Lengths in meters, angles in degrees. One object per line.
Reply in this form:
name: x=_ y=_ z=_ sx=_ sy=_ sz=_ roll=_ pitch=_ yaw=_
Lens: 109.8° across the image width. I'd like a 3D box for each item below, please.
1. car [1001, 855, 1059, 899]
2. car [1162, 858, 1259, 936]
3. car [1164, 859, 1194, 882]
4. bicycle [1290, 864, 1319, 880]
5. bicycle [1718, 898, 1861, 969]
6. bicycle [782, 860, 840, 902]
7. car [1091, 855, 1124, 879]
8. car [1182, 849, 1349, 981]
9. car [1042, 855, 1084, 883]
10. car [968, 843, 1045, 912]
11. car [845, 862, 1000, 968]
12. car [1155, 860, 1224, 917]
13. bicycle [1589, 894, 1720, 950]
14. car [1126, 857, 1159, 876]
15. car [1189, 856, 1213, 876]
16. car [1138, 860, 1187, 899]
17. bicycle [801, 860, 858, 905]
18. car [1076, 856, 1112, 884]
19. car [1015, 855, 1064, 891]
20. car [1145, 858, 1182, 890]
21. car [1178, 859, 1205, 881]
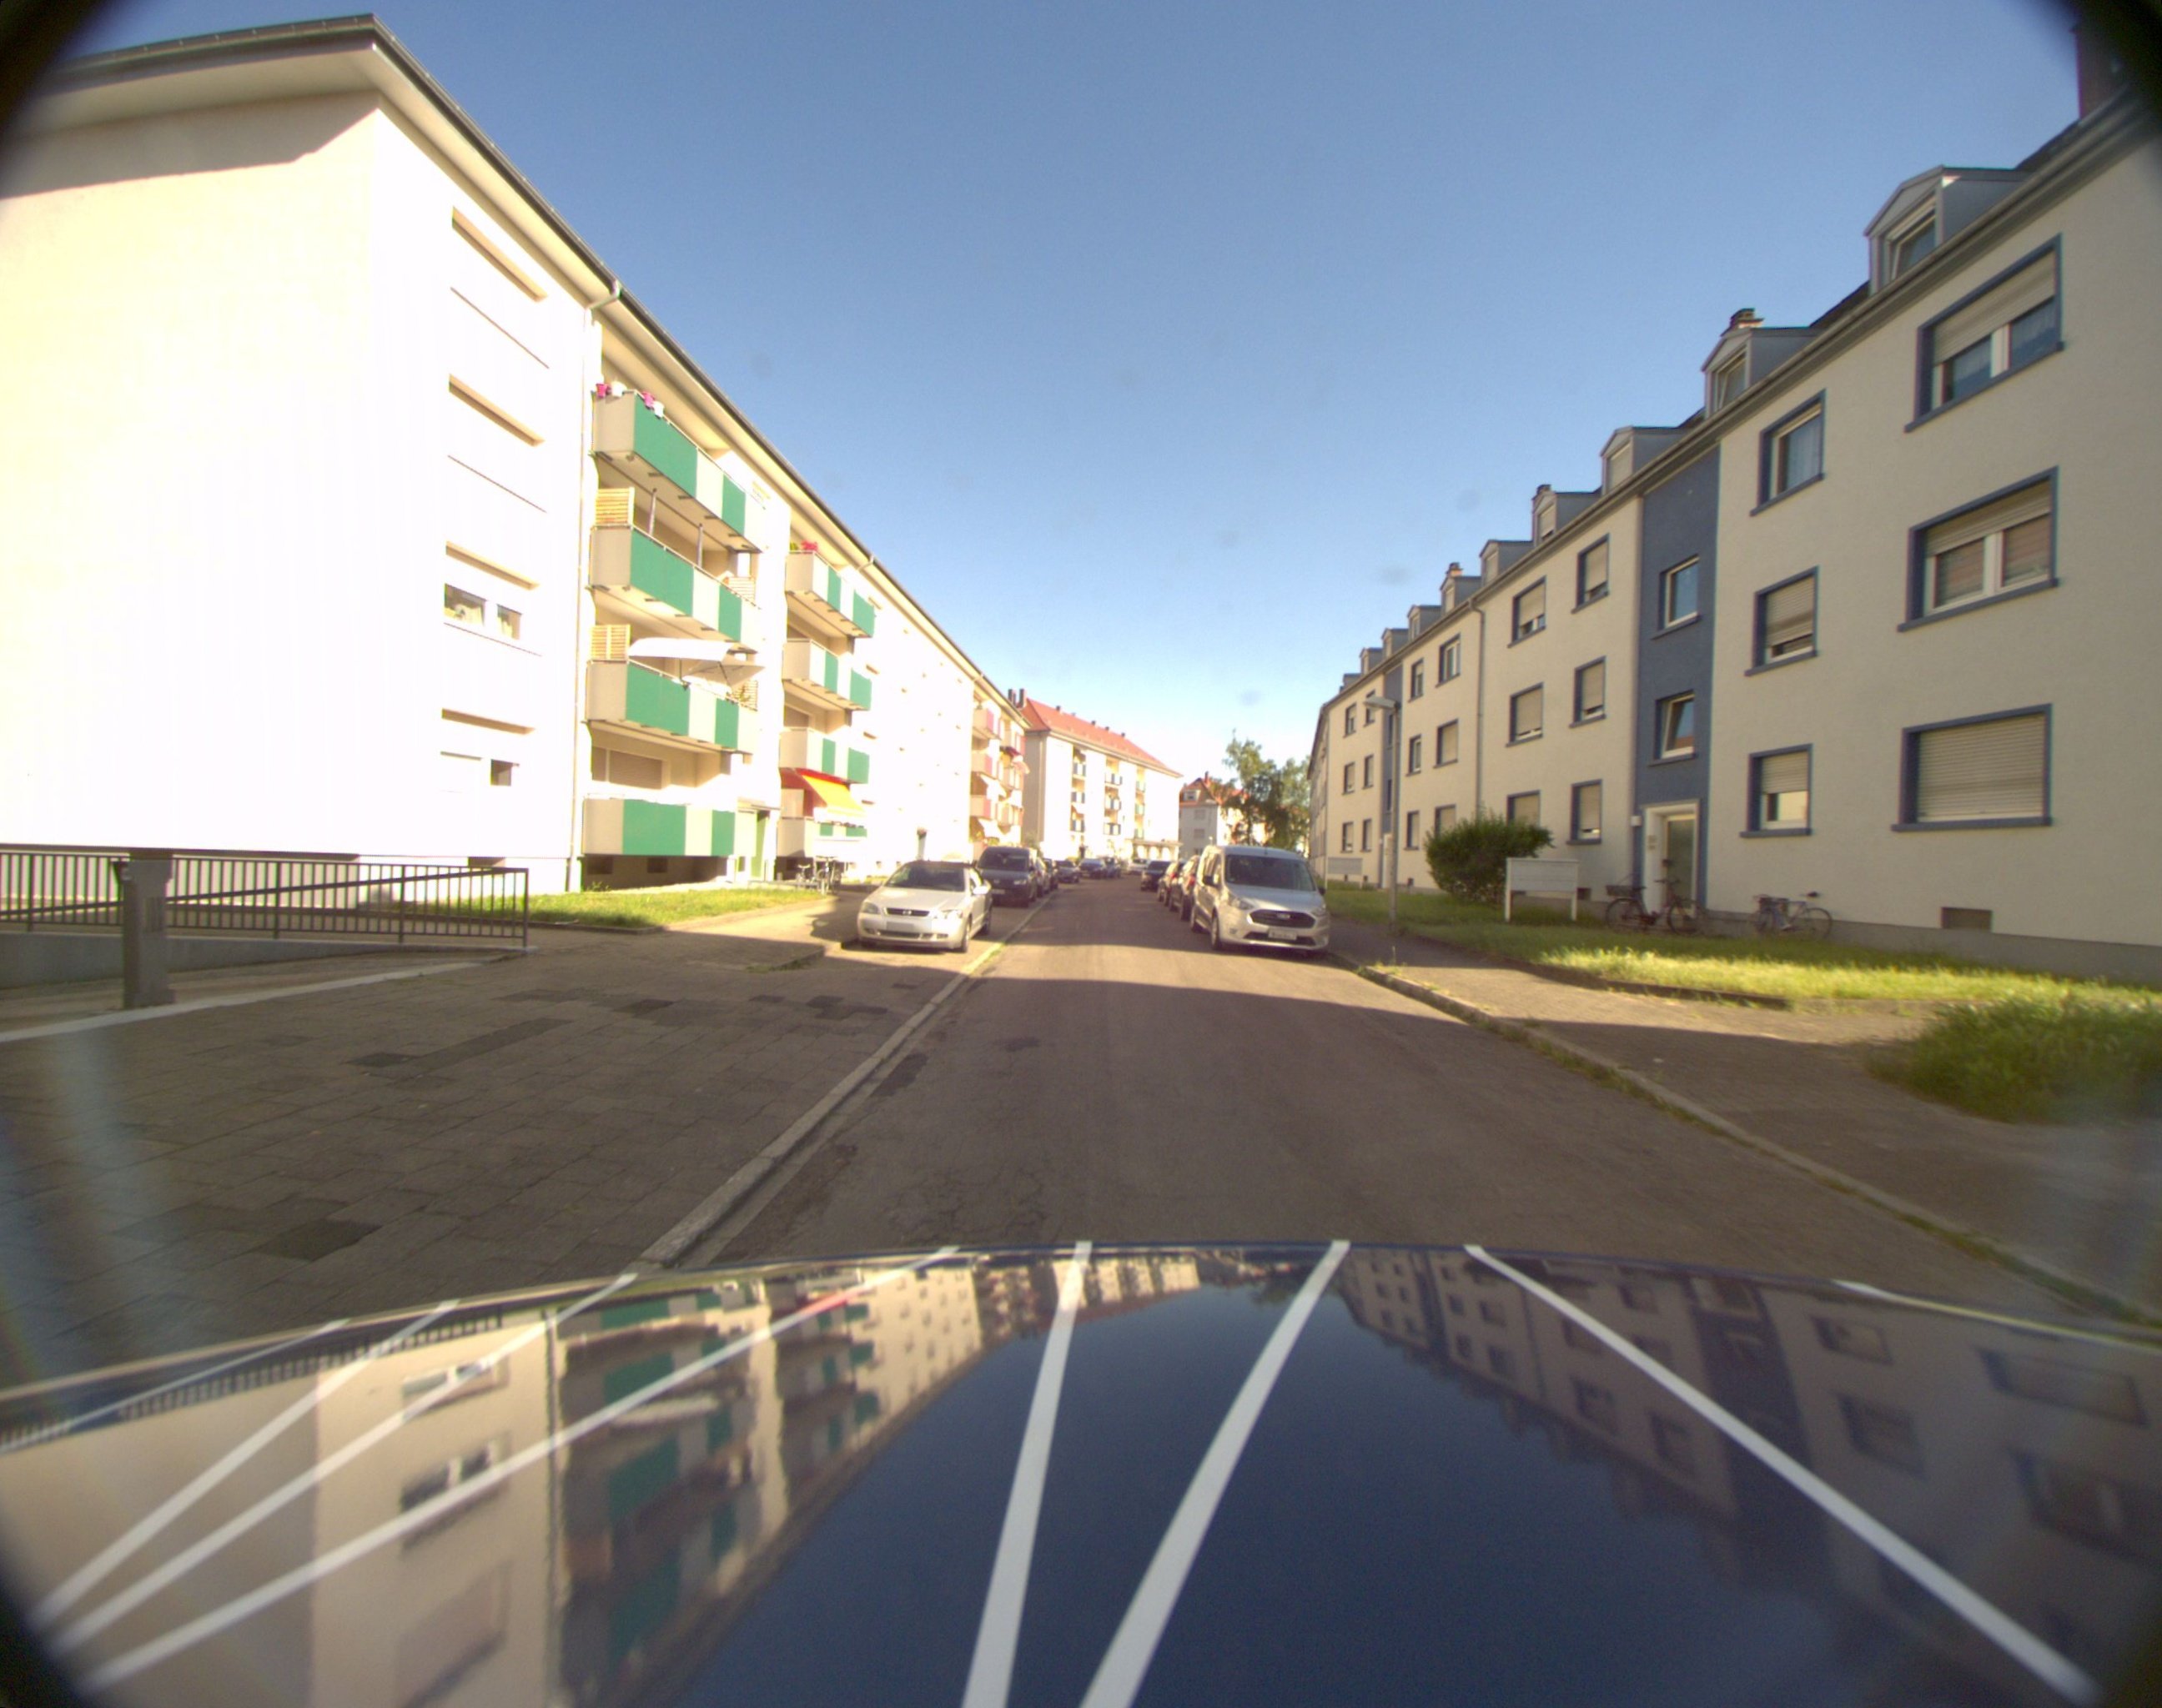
car: x=-1.858 y=0.829 z=28.867 sx=1.643 sy=1.450 sz=3.861 roll=3 pitch=0 yaw=4
car: x=3.163 y=0.998 z=19.340 sx=1.677 sy=1.582 sz=4.164 roll=5 pitch=0 yaw=1
car: x=7.339 y=1.183 z=56.761 sx=1.639 sy=1.539 sz=3.653 roll=5 pitch=0 yaw=15
bicycle: x=14.369 y=1.171 z=48.914 sx=1.733 sy=0.984 sz=0.463 roll=-2 pitch=1 yaw=16
bicycle: x=11.733 y=1.276 z=12.688 sx=0.500 sy=0.956 sz=2.075 roll=-2 pitch=0 yaw=2
bicycle: x=-7.120 y=0.680 z=20.119 sx=0.506 sy=1.038 sz=2.076 roll=0 pitch=0 yaw=9
car: x=2.098 y=0.989 z=58.516 sx=1.755 sy=1.724 sz=4.005 roll=-2 pitch=-1 yaw=13
car: x=3.022 y=0.888 z=13.598 sx=1.804 sy=1.819 sz=4.949 roll=4 pitch=0 yaw=2
car: x=-0.969 y=0.790 z=42.677 sx=1.676 sy=1.411 sz=3.862 roll=3 pitch=0 yaw=8
car: x=-2.212 y=0.653 z=23.843 sx=1.763 sy=1.829 sz=4.920 roll=3 pitch=0 yaw=1
car: x=-2.532 y=0.910 z=13.211 sx=1.746 sy=1.398 sz=4.313 roll=3 pitch=0 yaw=0
car: x=3.347 y=1.019 z=24.047 sx=1.648 sy=1.510 sz=3.702 roll=5 pitch=0 yaw=2
bicycle: x=10.874 y=1.282 z=14.438 sx=2.073 sy=0.956 sz=0.500 roll=-2 pitch=1 yaw=1
car: x=5.749 y=1.178 z=70.531 sx=1.754 sy=1.625 sz=4.413 roll=3 pitch=0 yaw=22
car: x=10.823 y=1.119 z=68.617 sx=1.639 sy=1.631 sz=3.653 roll=5 pitch=0 yaw=15
car: x=3.613 y=1.085 z=34.393 sx=1.904 sy=1.450 sz=4.397 roll=4 pitch=0 yaw=3
bicycle: x=-6.578 y=0.711 z=19.990 sx=0.506 sy=1.086 sz=2.076 roll=0 pitch=0 yaw=9
car: x=0.939 y=1.088 z=52.876 sx=1.580 sy=1.752 sz=4.243 roll=3 pitch=0 yaw=12
car: x=-1.808 y=0.789 z=33.955 sx=1.667 sy=1.440 sz=3.861 roll=3 pitch=0 yaw=4
car: x=4.452 y=1.043 z=40.911 sx=1.745 sy=1.507 sz=3.985 roll=4 pitch=0 yaw=6
car: x=9.066 y=1.293 z=62.192 sx=1.639 sy=1.693 sz=3.653 roll=5 pitch=1 yaw=16
